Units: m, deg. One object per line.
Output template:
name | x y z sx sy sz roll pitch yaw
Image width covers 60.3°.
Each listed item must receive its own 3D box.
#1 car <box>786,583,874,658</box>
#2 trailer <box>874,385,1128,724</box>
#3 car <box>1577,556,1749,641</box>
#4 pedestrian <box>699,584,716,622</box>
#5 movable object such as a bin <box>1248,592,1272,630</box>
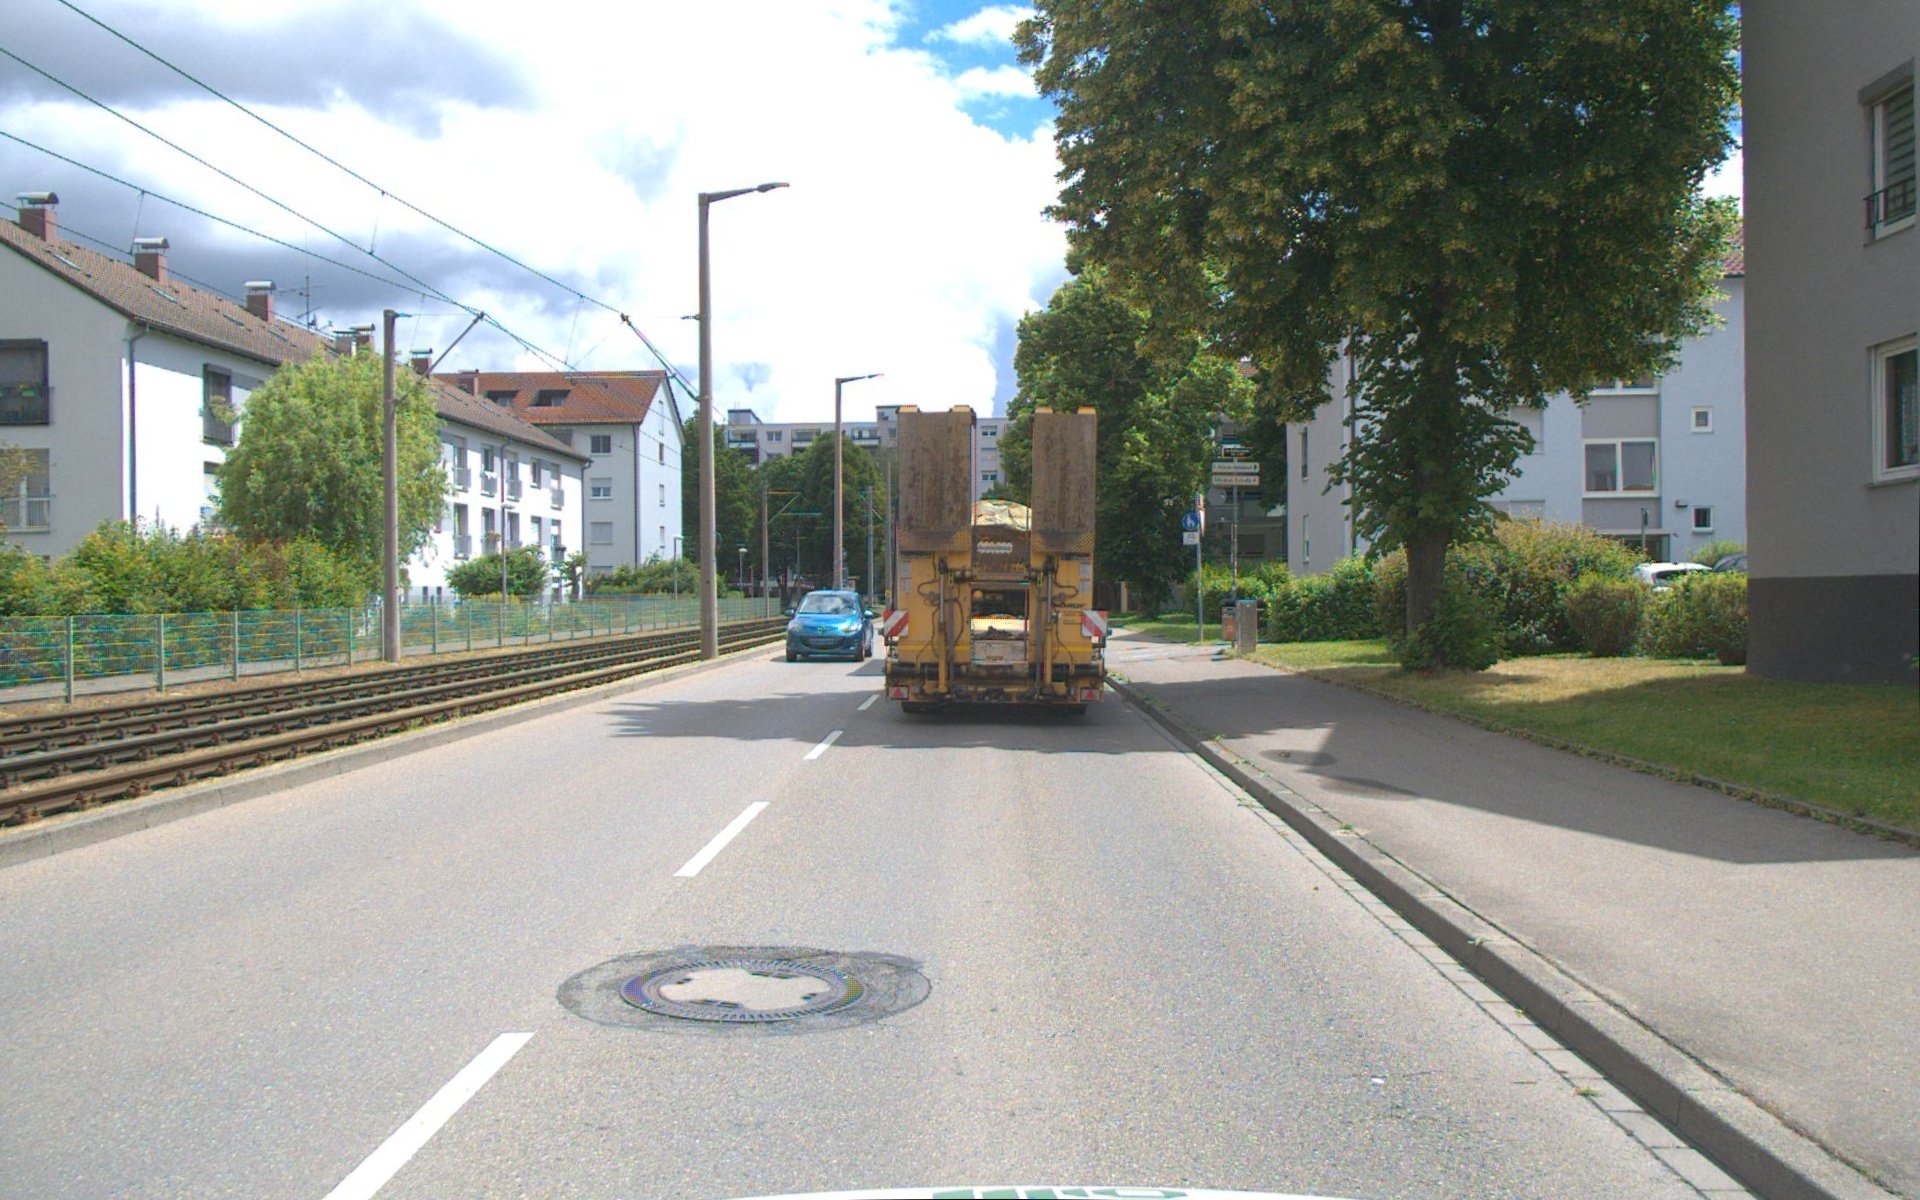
car | -2.779 0.423 36.008 1.590 1.552 3.581 0 0 1
trailer | 0.279 -0.497 24.481 2.770 3.709 12.349 1 0 -2
car | 12.904 -0.025 30.600 1.641 1.440 3.743 1 0 1
pedestrian | -12.888 0.155 84.396 0.645 1.881 0.768 -2 0 1
movable object such as a bin | 7.857 0.292 43.313 0.486 0.971 0.580 -2 0 1
